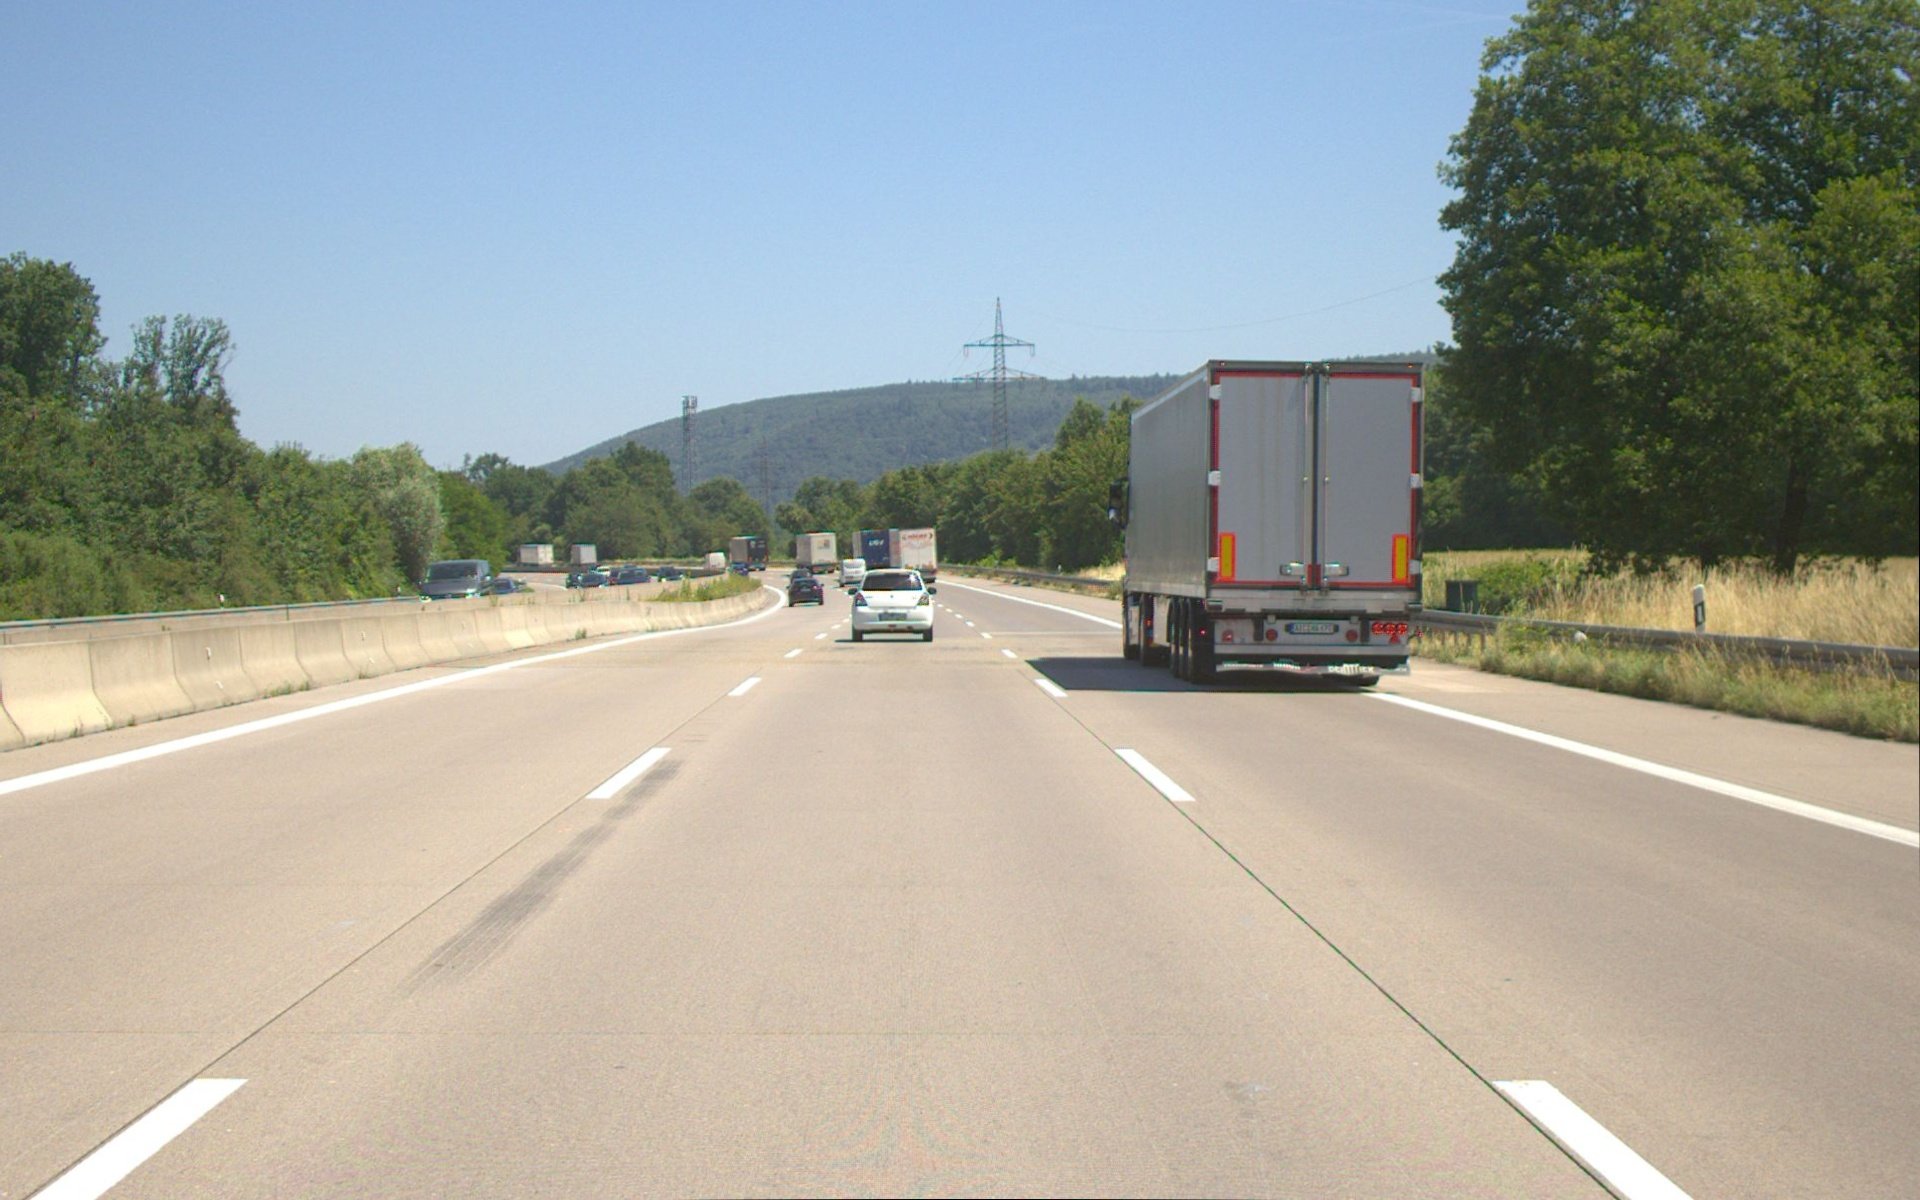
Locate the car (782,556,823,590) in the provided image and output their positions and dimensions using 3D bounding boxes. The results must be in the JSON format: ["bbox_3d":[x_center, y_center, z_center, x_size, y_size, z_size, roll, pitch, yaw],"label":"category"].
[{"bbox_3d":[-8.182,-1.405,178.093,2.022,1.695,4.001,1,1,-4],"label":"car"}]

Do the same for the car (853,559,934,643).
[{"bbox_3d":[-1.383,0.007,71.789,1.641,1.656,3.360,1,1,-1],"label":"car"}]

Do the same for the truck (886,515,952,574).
[{"bbox_3d":[-3.040,-3.992,248.699,3.820,3.876,14.155,-4,1,-3],"label":"truck"}]

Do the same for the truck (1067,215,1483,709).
[{"bbox_3d":[3.985,-1.806,49.420,3.577,5.767,18.249,0,1,-2],"label":"truck"}]

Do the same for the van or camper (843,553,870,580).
[{"bbox_3d":[-7.606,-2.488,252.555,1.867,1.831,4.001,-4,1,-2],"label":"van or camper"}]

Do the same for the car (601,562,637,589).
[{"bbox_3d":[-18.320,-1.325,184.816,1.560,1.414,3.523,-1,1,0],"label":"car"}]

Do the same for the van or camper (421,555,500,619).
[{"bbox_3d":[-15.132,-0.419,104.297,1.847,1.875,4.417,-1,1,-2],"label":"van or camper"}]
